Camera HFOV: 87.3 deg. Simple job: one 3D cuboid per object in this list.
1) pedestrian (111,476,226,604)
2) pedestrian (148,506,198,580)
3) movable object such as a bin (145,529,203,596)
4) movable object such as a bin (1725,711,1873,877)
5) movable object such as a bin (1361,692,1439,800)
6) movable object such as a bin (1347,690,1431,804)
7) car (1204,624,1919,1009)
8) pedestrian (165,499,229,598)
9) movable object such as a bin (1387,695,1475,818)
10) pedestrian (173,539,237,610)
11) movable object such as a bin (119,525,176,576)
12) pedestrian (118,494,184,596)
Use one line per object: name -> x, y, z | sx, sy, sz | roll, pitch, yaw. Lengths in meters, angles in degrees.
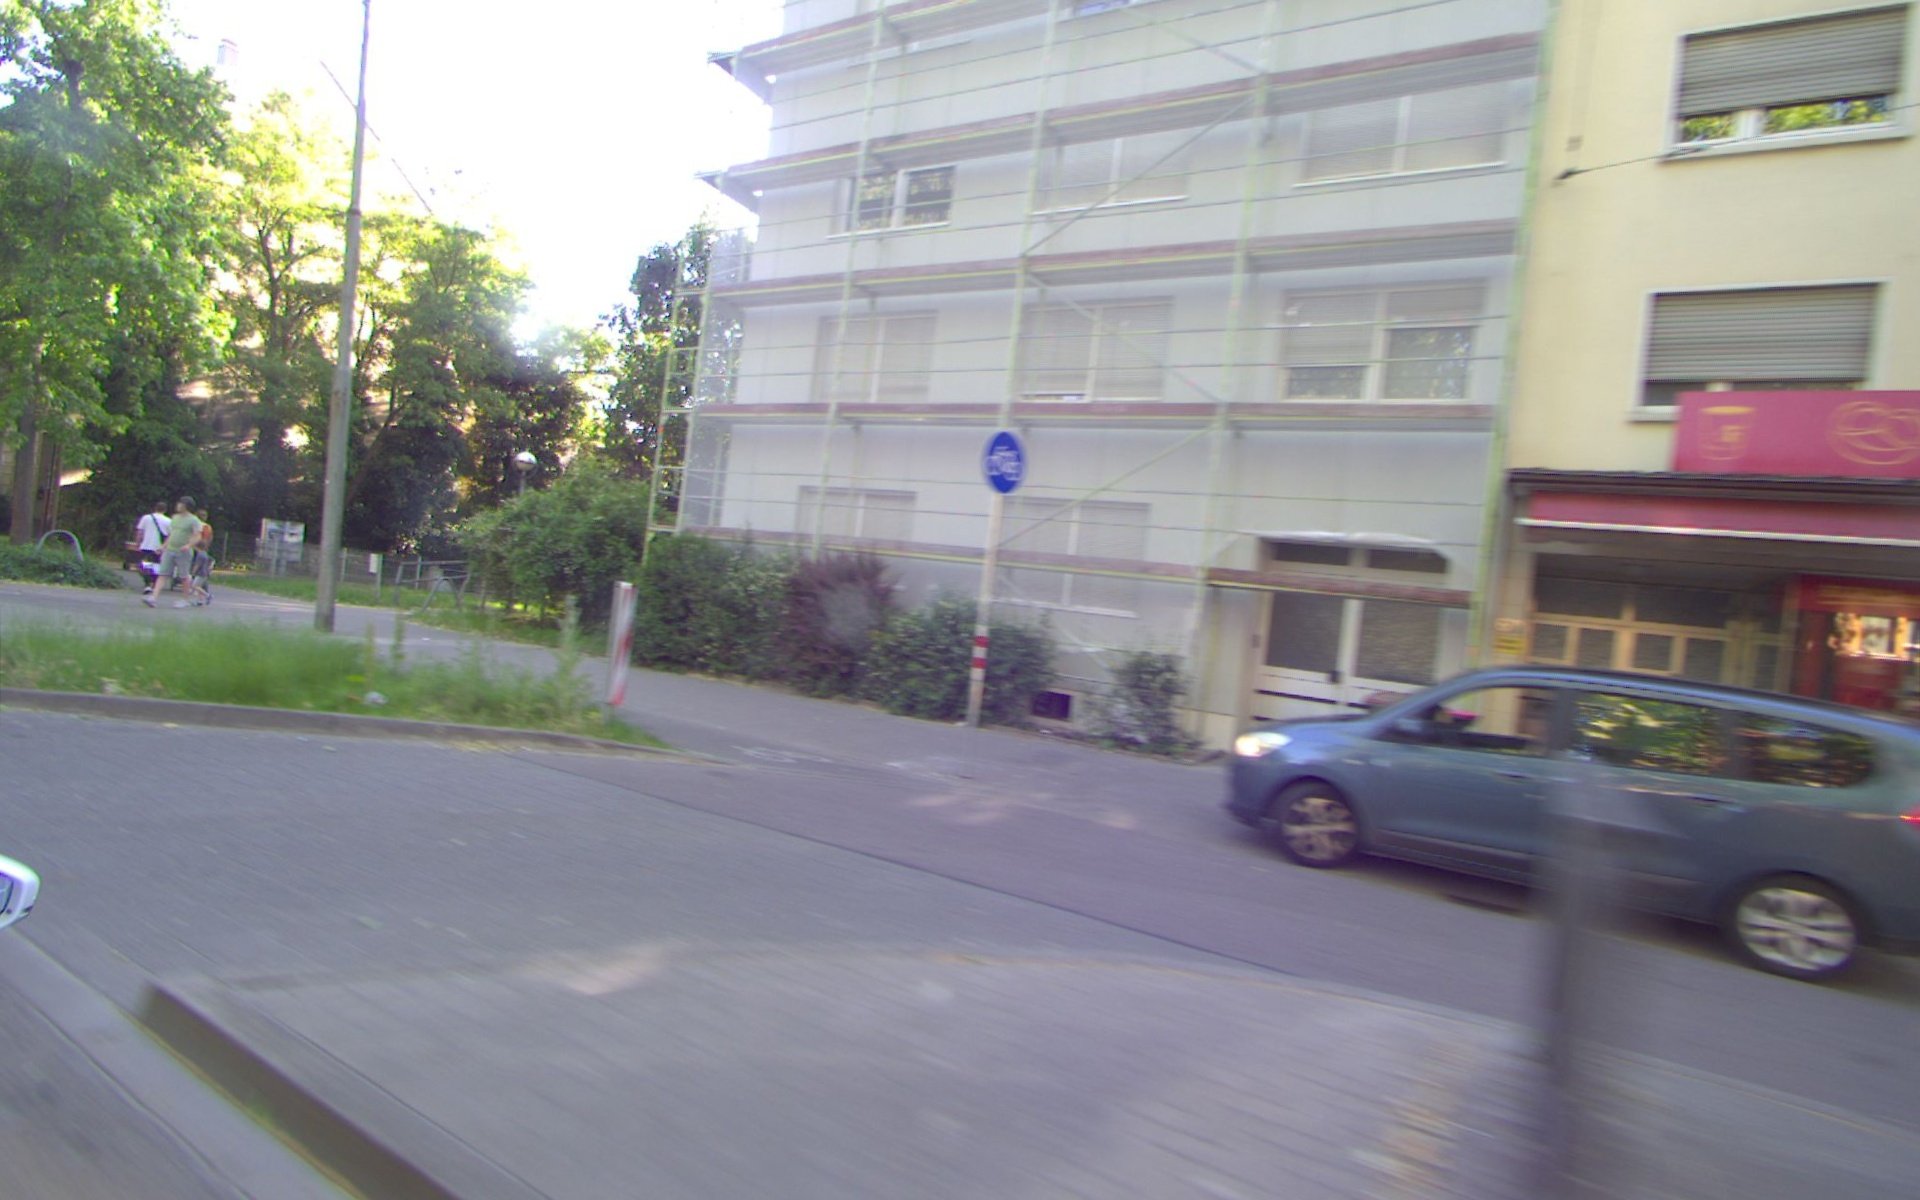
pedestrian -> -12.970, -0.970, 16.499 | 0.979, 1.907, 0.871 | 7, -1, 13
pedestrian -> -19.860, -1.425, 25.395 | 0.544, 1.746, 0.620 | 7, -1, 15
movable object such as a bin -> -15.805, -0.756, 20.217 | 1.287, 1.218, 0.637 | 7, 2, 42
movable object such as a bin -> 8.140, 1.843, 9.817 | 0.810, 1.367, 0.925 | 7, 1, 28
movable object such as a bin -> 5.297, 1.726, 12.092 | 0.685, 1.125, 0.882 | 7, 1, 28
movable object such as a bin -> 4.886, 1.646, 11.437 | 0.685, 1.125, 0.882 | 7, 1, 28
car -> 4.245, 1.276, 7.232 | 4.368, 1.642, 1.763 | 7, 1, 32
pedestrian -> -14.990, -1.012, 19.765 | 0.954, 1.816, 0.724 | 7, 2, 41
movable object such as a bin -> 5.004, 1.632, 10.675 | 0.685, 1.125, 0.882 | 7, 1, 28
pedestrian -> -13.191, -0.445, 17.580 | 0.651, 1.131, 0.673 | 6, -1, 42
movable object such as a bin -> -20.660, -1.252, 25.593 | 0.939, 1.139, 0.668 | 7, -1, 23
pedestrian -> -15.288, -1.037, 19.007 | 0.841, 1.816, 0.724 | 7, 2, 41
